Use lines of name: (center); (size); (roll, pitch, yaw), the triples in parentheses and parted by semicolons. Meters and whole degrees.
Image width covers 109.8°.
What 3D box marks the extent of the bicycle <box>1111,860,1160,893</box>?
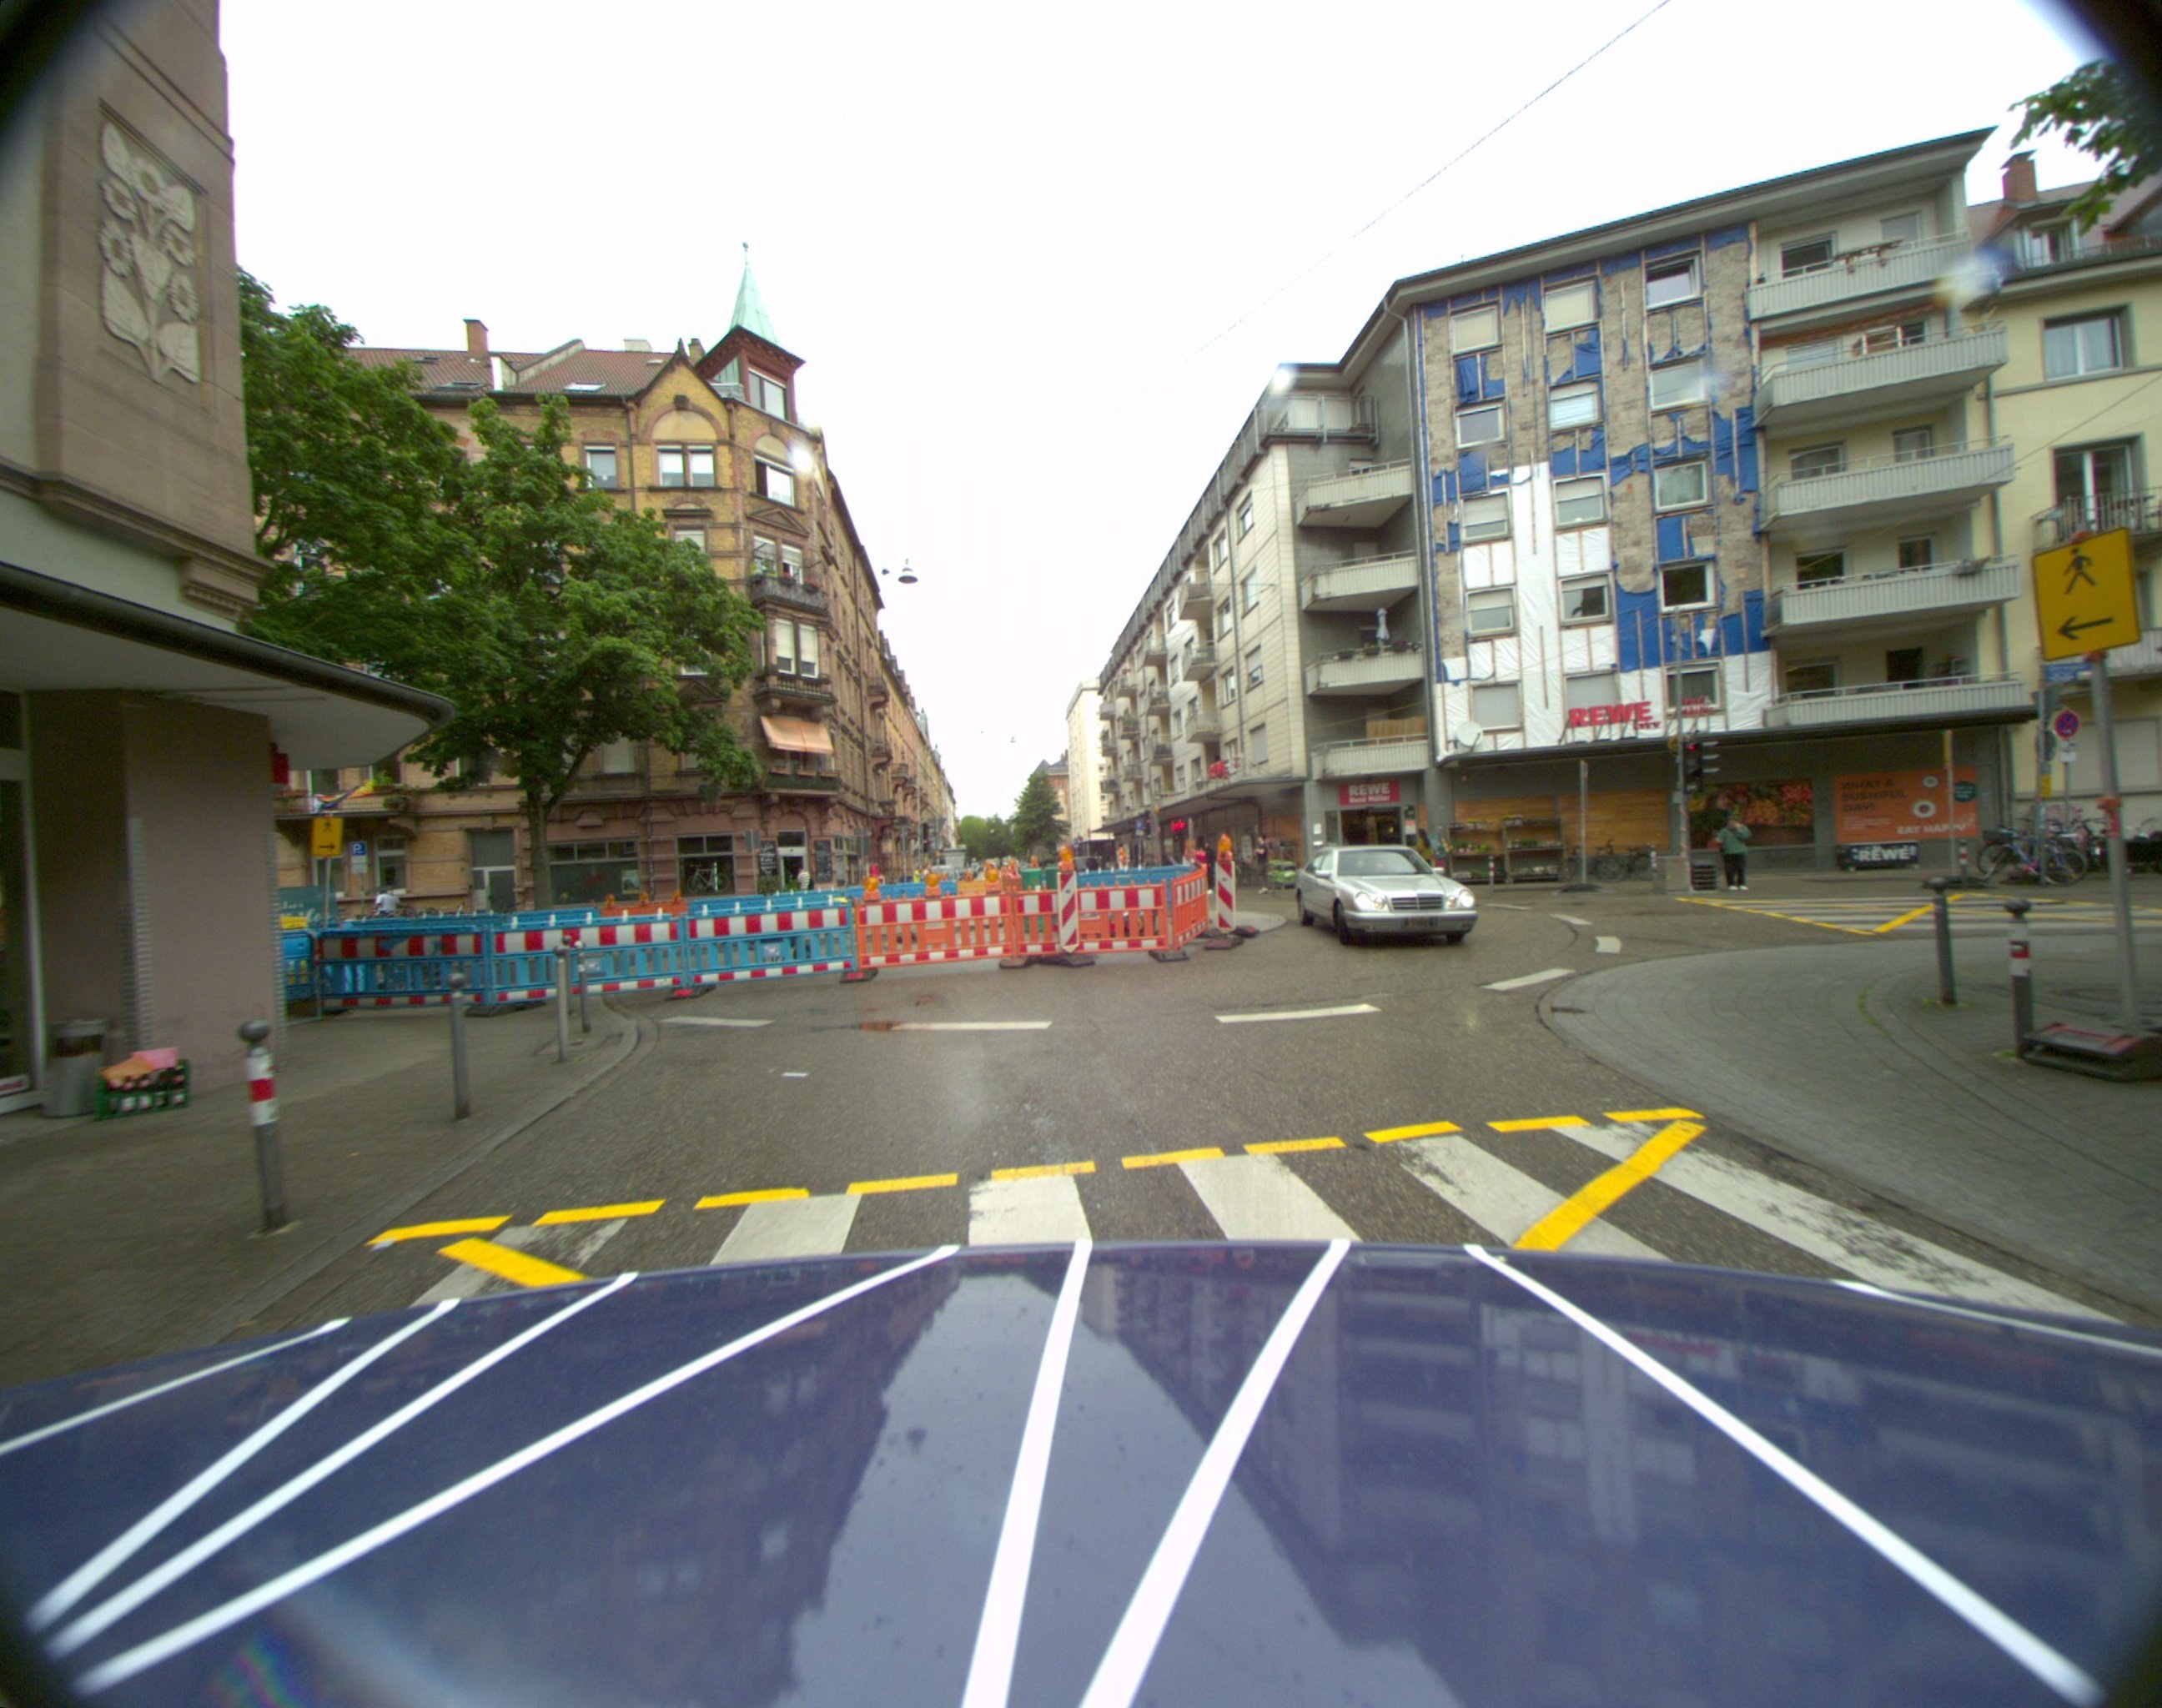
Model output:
bicycle: (2.432, 0.990, 33.928); (2.022, 1.271, 0.550); (-6, 0, -1)

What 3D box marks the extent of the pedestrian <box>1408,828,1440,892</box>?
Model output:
pedestrian: (9.763, 0.172, 21.620); (0.692, 1.755, 0.866); (-3, 1, 28)

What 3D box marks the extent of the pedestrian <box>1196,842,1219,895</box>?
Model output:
pedestrian: (4.529, 0.524, 27.152); (0.604, 1.837, 0.769); (-4, 0, 1)

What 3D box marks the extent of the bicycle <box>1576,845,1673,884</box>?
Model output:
bicycle: (14.362, 0.275, 20.123); (0.590, 0.965, 1.996); (-4, 2, -42)

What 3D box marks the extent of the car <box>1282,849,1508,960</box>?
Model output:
car: (4.795, 0.661, 12.527); (1.859, 1.390, 4.981); (-3, 0, 3)

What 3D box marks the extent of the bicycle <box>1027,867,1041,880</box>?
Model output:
bicycle: (-4.333, 1.769, 69.358); (0.994, 1.149, 2.874); (-4, 0, -8)

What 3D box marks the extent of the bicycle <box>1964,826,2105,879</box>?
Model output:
bicycle: (20.384, -0.036, 16.275); (1.998, 0.966, 0.590); (-4, 2, 9)

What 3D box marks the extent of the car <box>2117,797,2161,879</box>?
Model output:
car: (23.307, -0.419, 14.035); (2.000, 1.670, 4.454); (-4, 0, -12)

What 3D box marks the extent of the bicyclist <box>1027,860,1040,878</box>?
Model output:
bicyclist: (-4.361, 1.377, 69.347); (0.994, 1.591, 1.261); (-4, 0, -8)

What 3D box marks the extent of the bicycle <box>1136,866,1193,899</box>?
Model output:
bicycle: (3.085, 1.039, 28.068); (1.896, 1.028, 0.661); (-6, 0, -21)

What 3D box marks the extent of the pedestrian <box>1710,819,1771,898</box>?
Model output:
pedestrian: (13.915, 0.087, 16.048); (0.797, 1.606, 0.606); (-4, 1, 28)

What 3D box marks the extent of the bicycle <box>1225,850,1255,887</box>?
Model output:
bicycle: (6.230, 0.572, 29.917); (0.450, 1.366, 2.023); (-6, 0, -5)

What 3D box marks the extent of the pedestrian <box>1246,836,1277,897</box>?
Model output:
pedestrian: (5.768, 0.389, 24.298); (0.717, 1.886, 0.606); (-3, 1, 28)

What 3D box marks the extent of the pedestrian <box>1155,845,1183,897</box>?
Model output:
pedestrian: (3.271, 0.632, 28.177); (0.862, 1.837, 0.769); (-4, 0, 1)

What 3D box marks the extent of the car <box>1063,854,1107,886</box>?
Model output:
car: (0.194, 1.007, 47.822); (1.903, 1.779, 3.997); (-4, 0, -11)

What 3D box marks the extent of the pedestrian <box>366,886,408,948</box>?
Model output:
pedestrian: (-22.635, 2.045, 24.791); (0.640, 1.907, 0.673); (-4, 1, -6)

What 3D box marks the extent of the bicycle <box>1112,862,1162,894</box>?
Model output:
bicycle: (2.460, 1.031, 33.328); (2.032, 1.188, 0.550); (-6, 0, -1)

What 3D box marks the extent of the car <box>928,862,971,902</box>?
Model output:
car: (-6.672, 1.370, 38.422); (1.903, 1.779, 3.997); (-4, 0, -11)

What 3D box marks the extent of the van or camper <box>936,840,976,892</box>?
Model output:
van or camper: (-8.746, 0.821, 53.780); (2.413, 3.307, 7.069); (-4, 0, -8)

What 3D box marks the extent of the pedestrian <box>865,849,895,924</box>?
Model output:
pedestrian: (-7.081, 1.133, 26.717); (0.697, 2.593, 0.539); (-4, 1, -39)

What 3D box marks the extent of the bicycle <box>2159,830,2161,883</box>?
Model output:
bicycle: (20.514, -0.031, 13.636); (2.001, 0.966, 0.589); (-5, 2, -12)

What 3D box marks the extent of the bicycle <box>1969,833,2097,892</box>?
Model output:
bicycle: (17.879, 0.133, 14.339); (0.588, 0.965, 2.003); (-4, 2, 22)

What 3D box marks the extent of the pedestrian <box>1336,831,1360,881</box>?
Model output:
pedestrian: (8.591, 0.056, 24.444); (0.544, 1.575, 0.695); (-3, 1, 28)

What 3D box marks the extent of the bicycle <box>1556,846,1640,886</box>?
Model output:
bicycle: (13.507, 0.324, 19.901); (0.569, 0.965, 1.687); (-4, 0, -42)
